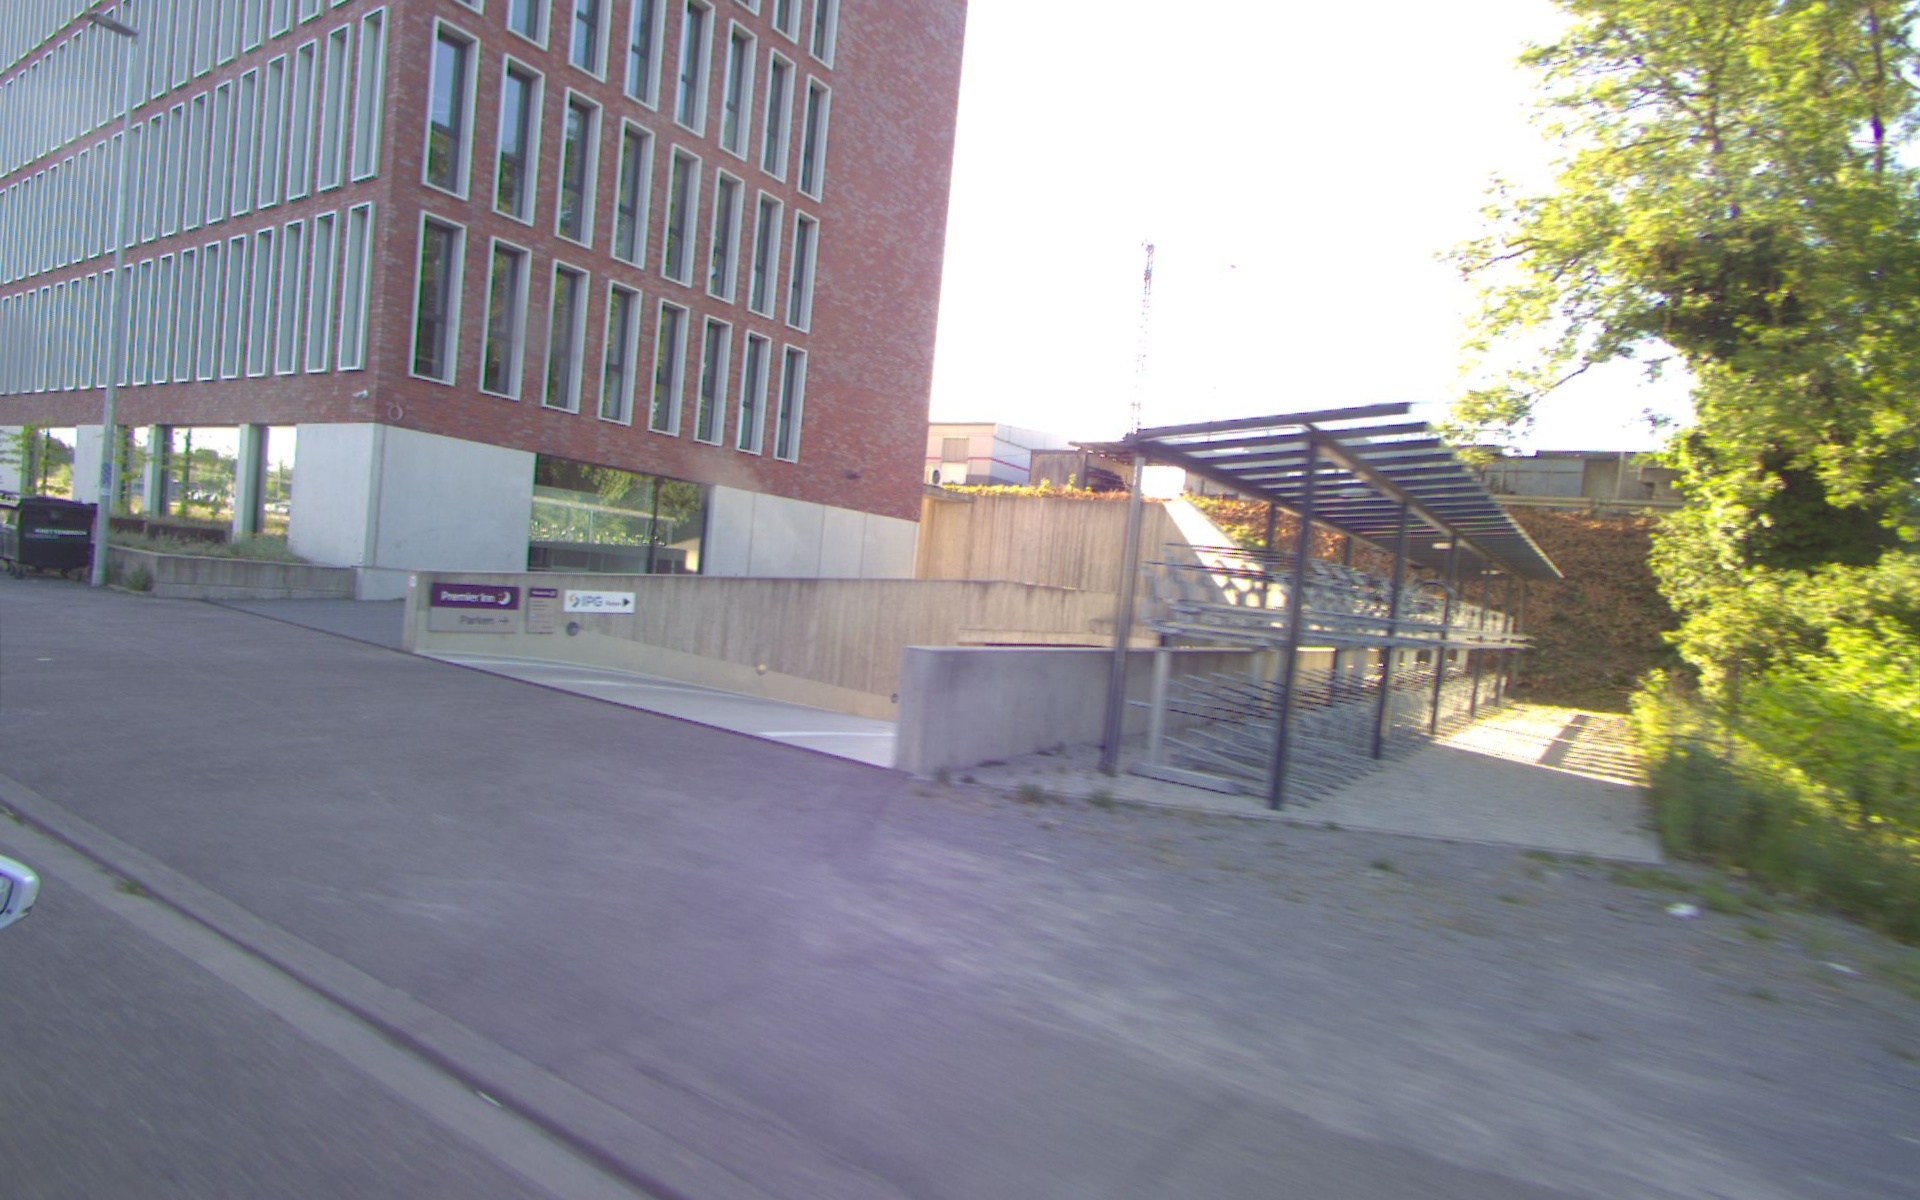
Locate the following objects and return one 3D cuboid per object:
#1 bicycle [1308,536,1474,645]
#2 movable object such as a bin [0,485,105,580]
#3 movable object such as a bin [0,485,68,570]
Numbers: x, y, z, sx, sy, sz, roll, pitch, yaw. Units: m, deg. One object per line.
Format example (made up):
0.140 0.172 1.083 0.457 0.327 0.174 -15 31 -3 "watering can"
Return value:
6.022 -0.143 14.117 1.957 1.338 0.631 6 1 32 "bicycle"
-15.108 -1.118 16.591 1.323 1.390 1.129 7 2 30 "movable object such as a bin"
-16.461 -1.282 17.422 1.323 1.354 1.129 7 2 30 "movable object such as a bin"
